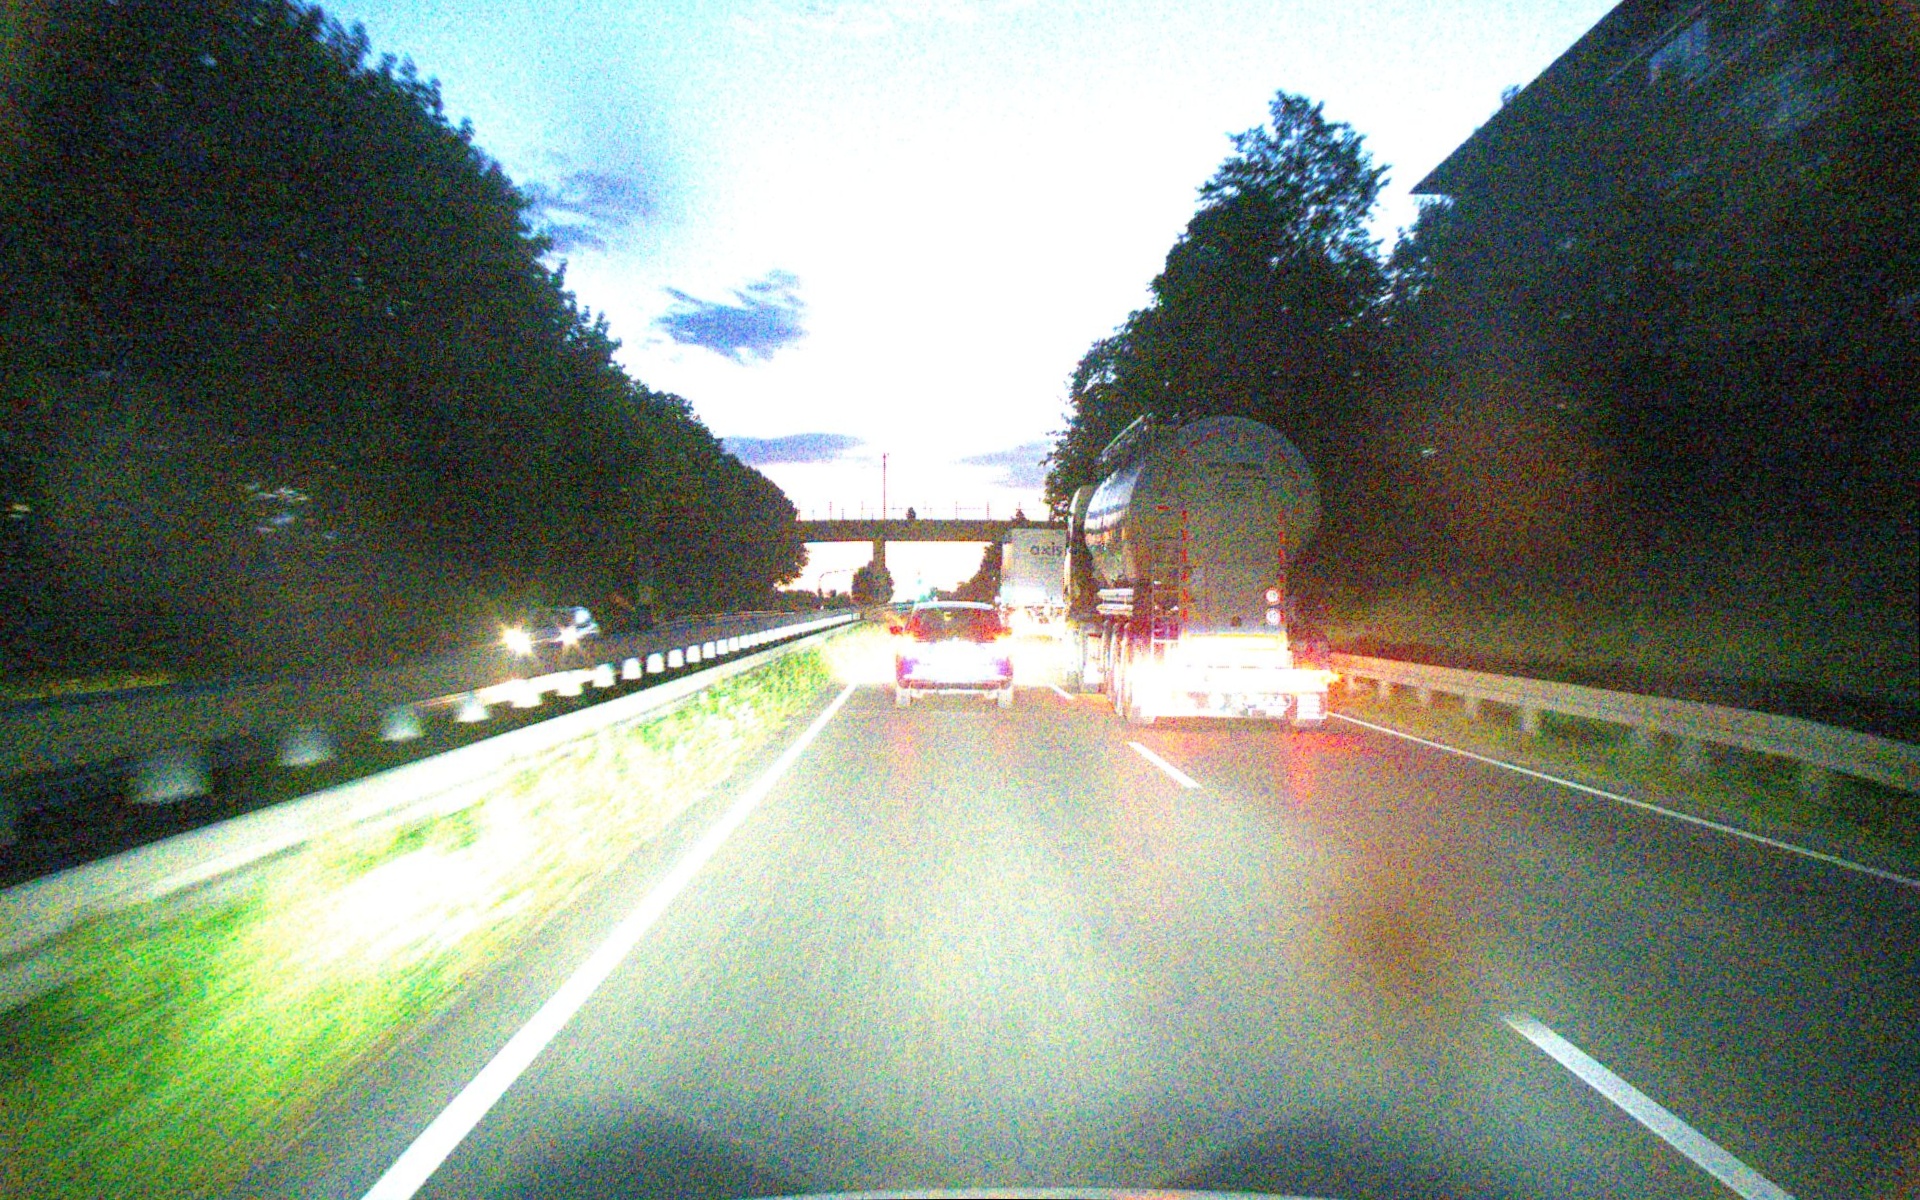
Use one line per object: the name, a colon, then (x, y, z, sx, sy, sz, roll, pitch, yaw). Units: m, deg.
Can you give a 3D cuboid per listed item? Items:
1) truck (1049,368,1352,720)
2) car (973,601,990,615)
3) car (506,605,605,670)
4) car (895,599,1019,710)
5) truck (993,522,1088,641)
truck: (3.243, -0.624, 26.377, 2.633, 4.178, 13.137, 1, 0, -1)
car: (2.308, 0.827, 177.445, 1.661, 1.478, 3.913, 1, 0, -1)
car: (-10.100, 0.921, 41.567, 1.584, 1.533, 3.868, 1, 0, -1)
car: (-0.080, 0.751, 24.359, 1.661, 1.478, 3.913, 1, 0, -1)
truck: (2.993, -0.629, 65.129, 2.824, 4.178, 12.680, 1, 0, -1)
